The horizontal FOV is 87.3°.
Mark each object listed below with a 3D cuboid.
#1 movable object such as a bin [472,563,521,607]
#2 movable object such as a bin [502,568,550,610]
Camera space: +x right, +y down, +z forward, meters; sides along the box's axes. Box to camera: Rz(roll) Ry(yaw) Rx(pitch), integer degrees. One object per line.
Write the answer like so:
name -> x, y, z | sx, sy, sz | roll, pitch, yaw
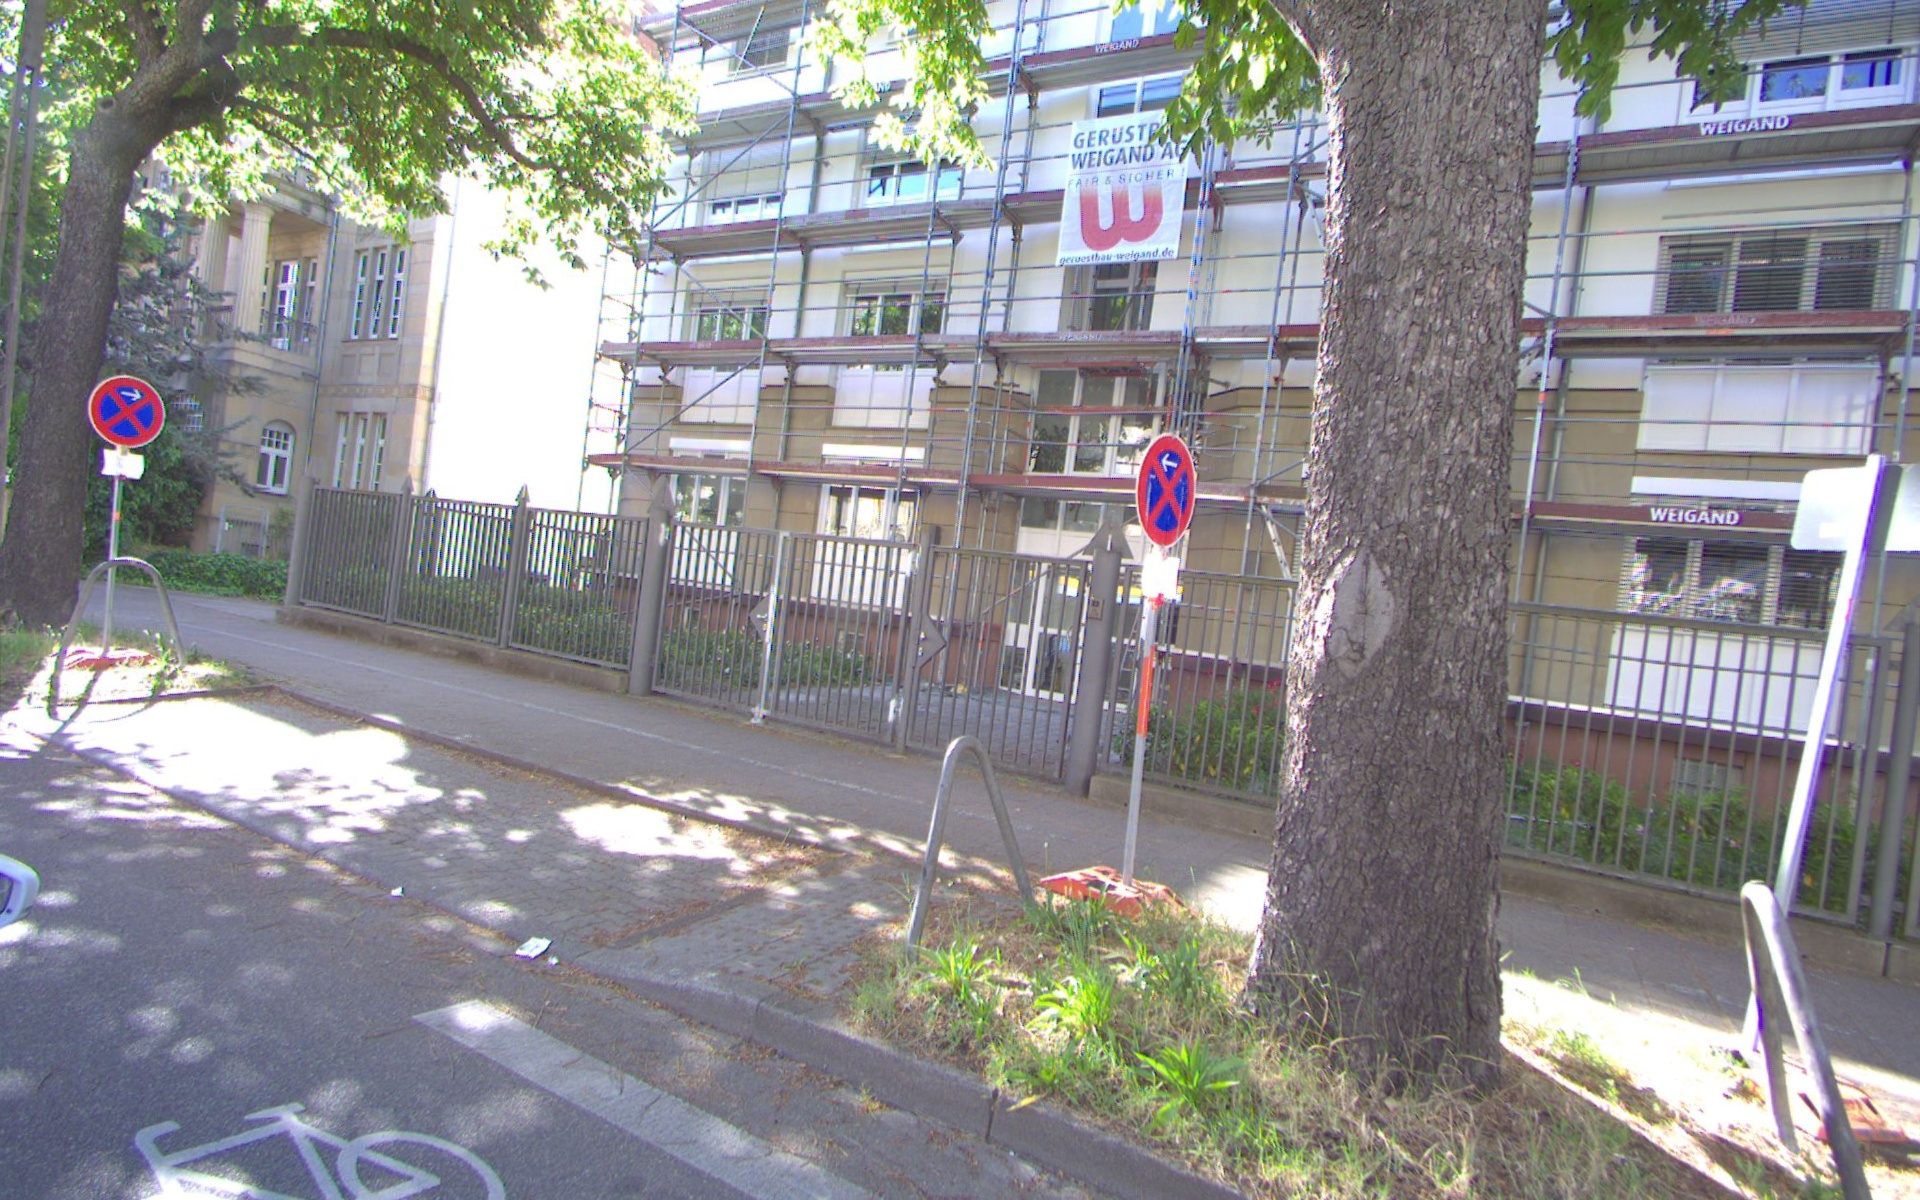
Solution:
movable object such as a bin -> -11.718, -0.373, 25.447 | 0.637, 0.966, 0.835 | 6, -2, 30
movable object such as a bin -> -11.297, -0.287, 26.204 | 0.637, 0.966, 0.835 | 6, -2, 30
